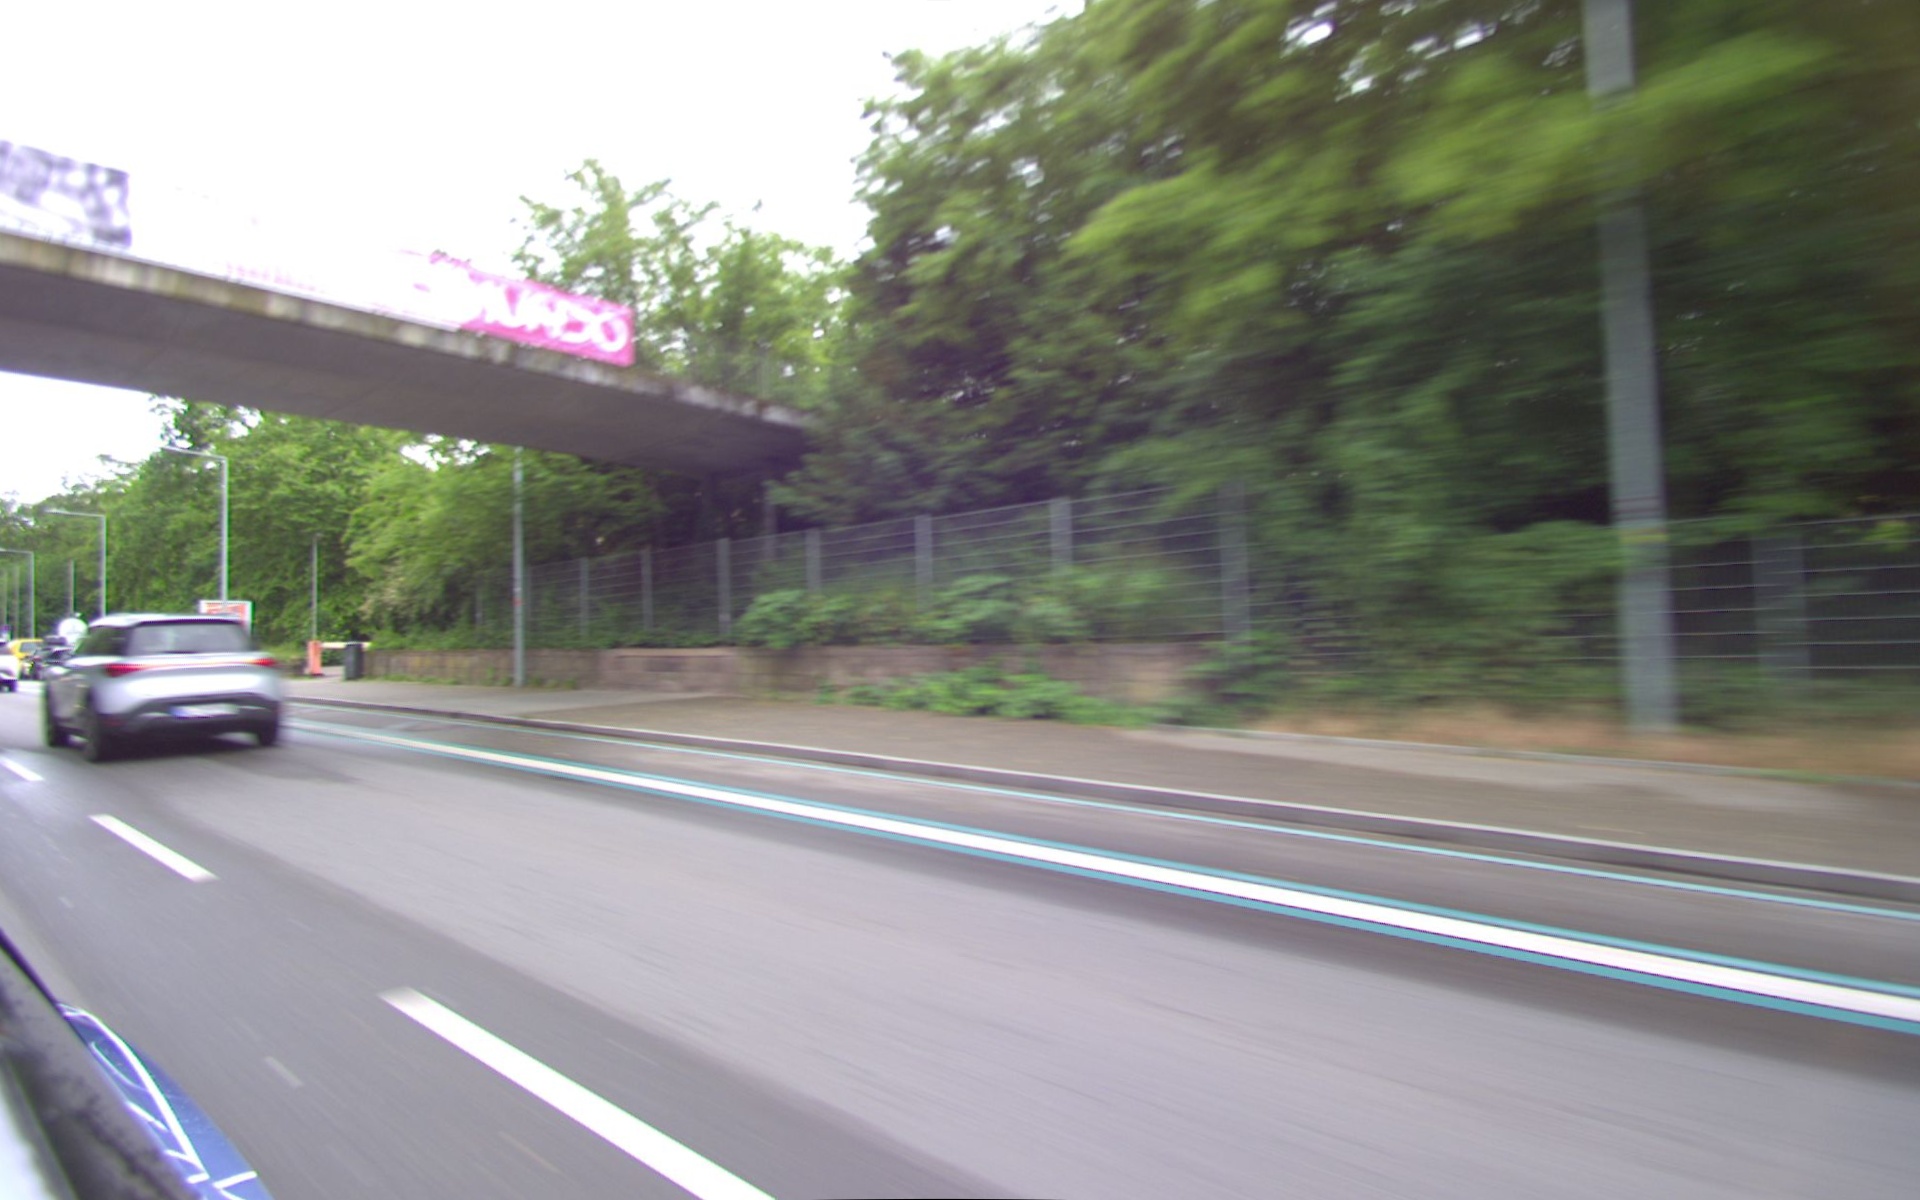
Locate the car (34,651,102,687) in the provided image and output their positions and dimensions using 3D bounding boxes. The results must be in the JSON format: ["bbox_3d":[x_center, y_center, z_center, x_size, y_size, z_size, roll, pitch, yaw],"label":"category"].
[{"bbox_3d":[-38.104,2.963,43.214,4.034,1.457,1.591,-4,-5,40],"label":"car"}]

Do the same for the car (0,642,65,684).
[{"bbox_3d":[-46.039,3.136,50.046,4.840,1.928,1.973,-4,-4,40],"label":"car"}]

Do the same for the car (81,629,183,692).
[{"bbox_3d":[-27.848,2.049,33.989,5.226,1.929,1.957,-5,-4,43],"label":"car"}]

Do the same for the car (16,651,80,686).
[{"bbox_3d":[-41.820,3.157,46.382,4.148,1.516,1.691,-4,-5,41],"label":"car"}]

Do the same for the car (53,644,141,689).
[{"bbox_3d":[-33.356,2.587,39.055,4.658,1.628,1.805,-4,-5,40],"label":"car"}]

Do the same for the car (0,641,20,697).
[{"bbox_3d":[-28.594,1.980,29.022,3.867,1.564,1.952,-3,-2,40],"label":"car"}]

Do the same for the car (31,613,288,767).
[{"bbox_3d":[-9.936,0.966,12.458,4.100,1.588,1.777,-1,-1,41],"label":"car"}]
